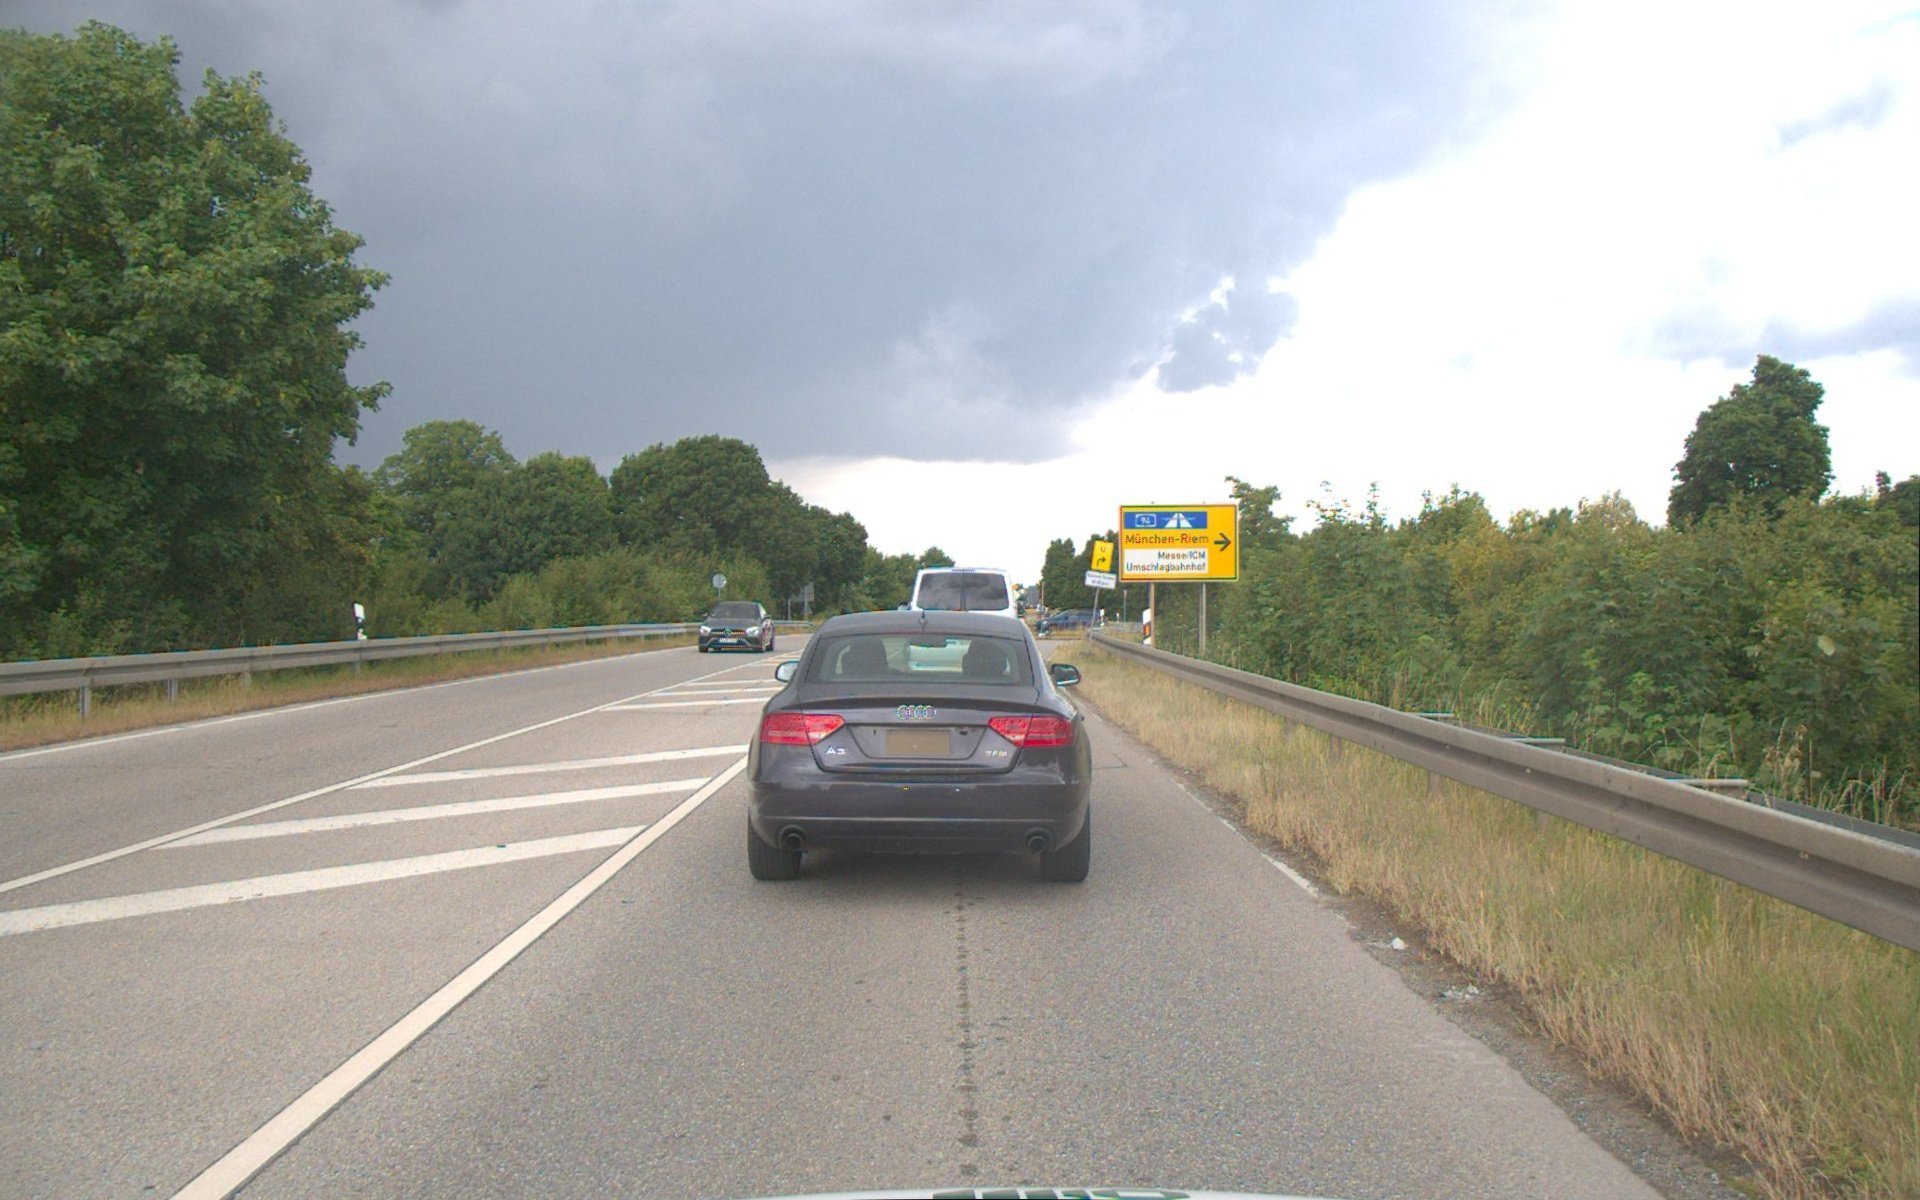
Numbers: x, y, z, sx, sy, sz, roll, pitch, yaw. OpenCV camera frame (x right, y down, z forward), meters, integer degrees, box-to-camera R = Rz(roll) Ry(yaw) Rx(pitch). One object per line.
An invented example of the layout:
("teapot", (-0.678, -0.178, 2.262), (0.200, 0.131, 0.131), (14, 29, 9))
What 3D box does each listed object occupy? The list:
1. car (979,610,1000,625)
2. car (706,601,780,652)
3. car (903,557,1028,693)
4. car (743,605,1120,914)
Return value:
("car", (3.337, 1.961, 187.177), (2.161, 1.610, 4.378), (1, 0, -1))
("car", (-6.222, 0.737, 47.845), (1.589, 1.403, 4.511), (0, 0, -1))
("car", (0.062, 0.378, 27.253), (1.871, 2.049, 3.999), (1, 0, -1))
("car", (-0.154, 0.750, 9.348), (1.743, 1.423, 3.335), (0, 0, -1))
